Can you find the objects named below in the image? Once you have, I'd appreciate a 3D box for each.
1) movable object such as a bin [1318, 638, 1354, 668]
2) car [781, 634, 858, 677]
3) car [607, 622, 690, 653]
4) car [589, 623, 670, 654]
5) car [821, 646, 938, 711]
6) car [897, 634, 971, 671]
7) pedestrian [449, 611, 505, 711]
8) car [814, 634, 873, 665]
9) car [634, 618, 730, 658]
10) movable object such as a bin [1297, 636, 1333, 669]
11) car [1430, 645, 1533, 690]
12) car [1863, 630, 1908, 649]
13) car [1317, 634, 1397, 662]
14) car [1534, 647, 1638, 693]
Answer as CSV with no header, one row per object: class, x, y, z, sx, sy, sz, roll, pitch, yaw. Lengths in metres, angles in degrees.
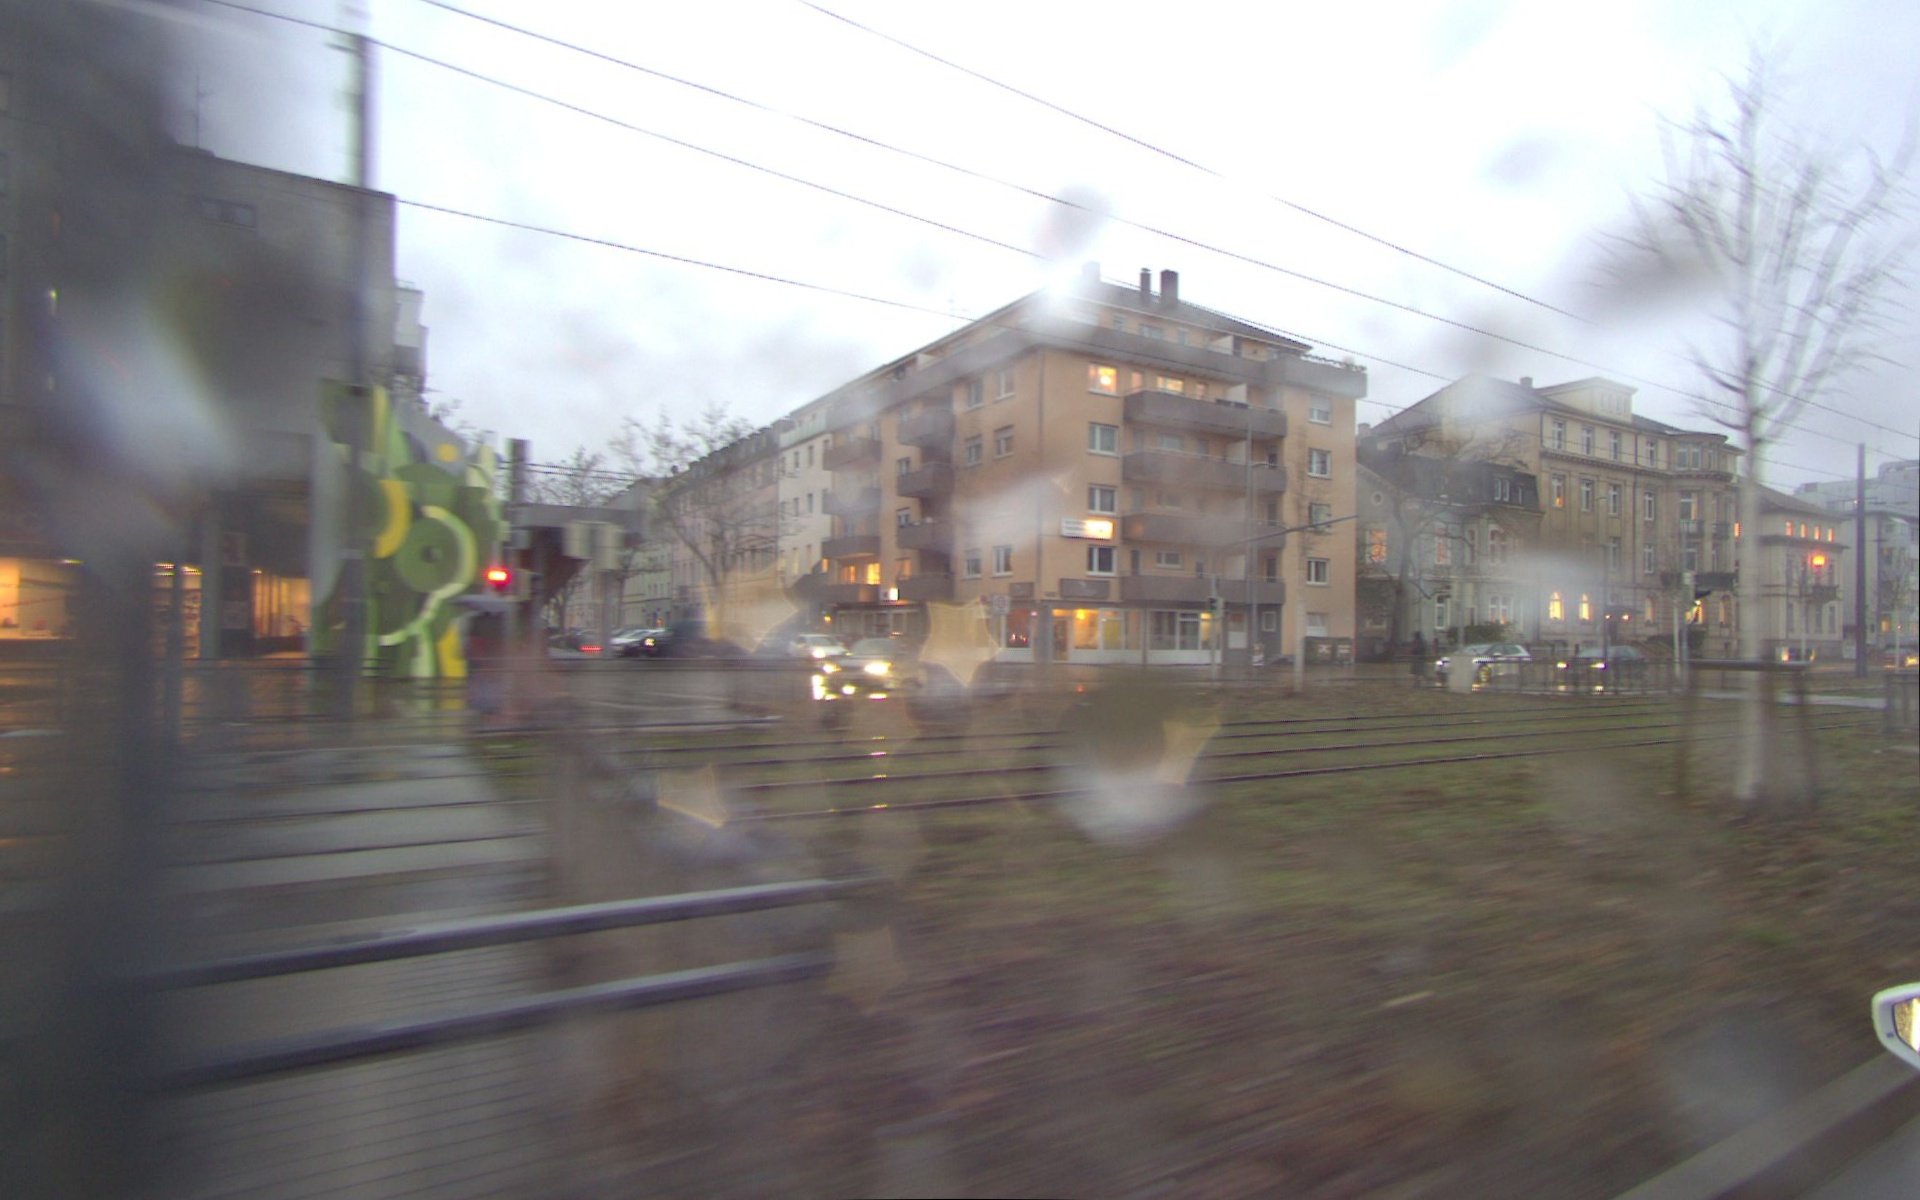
movable object such as a bin,19.242,2.696,51.375,1.410,1.500,1.101,1,-2,-33
car,-5.989,2.323,42.505,1.667,1.531,3.964,2,0,-33
car,-15.112,1.838,48.781,3.542,1.439,1.712,2,-1,-33
car,-16.576,1.934,50.419,3.542,1.439,1.822,2,-1,-33
car,-2.192,2.180,28.819,1.959,1.565,4.707,1,-1,14
car,-1.238,2.381,45.928,1.758,1.572,3.806,2,-2,-31
pedestrian,-7.523,0.928,15.643,0.625,1.509,0.784,2,-1,-37
car,-6.374,2.666,54.598,1.738,1.572,3.806,2,-2,-31
car,-11.758,1.632,42.528,3.596,1.622,1.609,2,-1,-30
movable object such as a bin,17.880,2.632,50.555,1.410,1.581,1.101,1,-2,-33
car,20.584,2.666,39.653,3.955,1.606,1.792,3,0,-31
car,75.317,3.210,81.758,3.885,1.455,1.796,2,-2,-33
car,22.602,2.720,57.299,1.813,1.425,3.966,2,-1,-31
car,24.310,2.710,38.986,3.955,1.606,1.792,3,0,-31
